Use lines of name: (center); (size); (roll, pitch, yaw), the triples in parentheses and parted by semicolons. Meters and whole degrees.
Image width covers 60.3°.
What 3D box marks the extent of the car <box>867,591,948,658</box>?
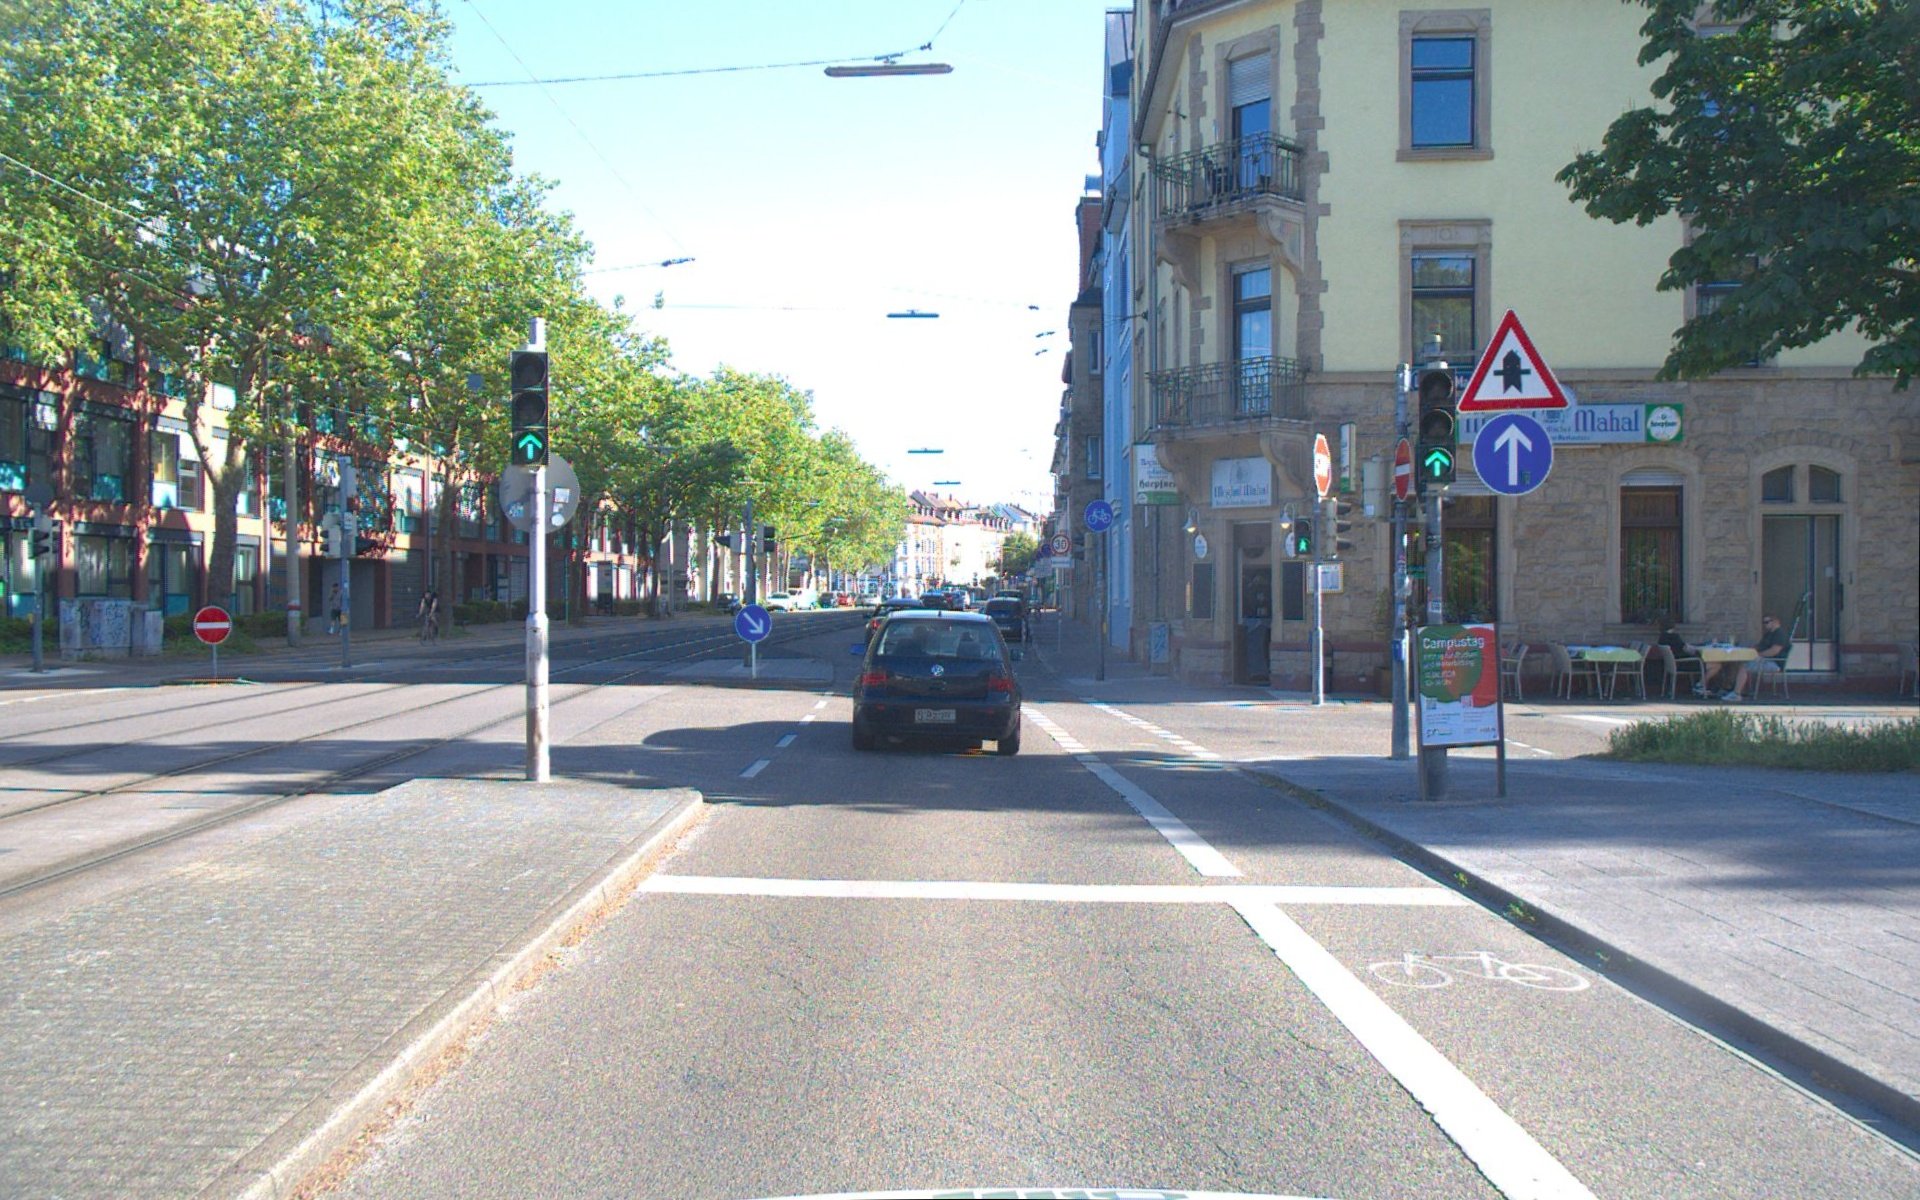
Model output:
car: (-1.264, 0.570, 41.249); (1.712, 1.564, 3.893); (0, 1, 3)

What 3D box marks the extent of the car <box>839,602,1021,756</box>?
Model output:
car: (-0.256, 0.743, 17.595); (1.712, 1.399, 4.001); (0, 1, 1)

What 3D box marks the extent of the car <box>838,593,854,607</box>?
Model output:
car: (-12.994, 0.051, 188.575); (1.537, 1.560, 3.573); (0, -1, 2)

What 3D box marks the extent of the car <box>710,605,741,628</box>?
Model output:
car: (-16.021, 1.168, 113.132); (1.476, 1.479, 3.464); (-1, -2, 2)

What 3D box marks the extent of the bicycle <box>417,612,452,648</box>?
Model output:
bicycle: (-16.399, 0.926, 51.640); (0.632, 1.060, 1.923); (2, 1, -6)

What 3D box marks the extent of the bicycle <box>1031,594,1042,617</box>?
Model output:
bicycle: (4.027, 0.277, 87.224); (0.504, 1.159, 2.259); (-2, 1, 1)

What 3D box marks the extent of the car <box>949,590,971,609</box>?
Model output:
car: (0.001, -0.057, 131.813); (1.602, 1.498, 3.730); (0, 0, 2)

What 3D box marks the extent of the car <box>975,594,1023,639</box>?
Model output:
car: (1.404, 0.554, 58.710); (1.621, 1.508, 4.001); (1, 0, 2)

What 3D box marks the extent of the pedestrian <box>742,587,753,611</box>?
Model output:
pedestrian: (-16.756, -0.079, 130.657); (0.771, 1.902, 0.669); (2, 0, -13)

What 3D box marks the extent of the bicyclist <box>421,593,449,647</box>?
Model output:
bicyclist: (-16.397, 0.621, 51.687); (0.632, 1.639, 0.780); (2, 0, -7)

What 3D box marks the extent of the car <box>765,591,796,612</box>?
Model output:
car: (-14.899, 0.080, 137.441); (1.970, 1.600, 4.694); (2, 1, 1)

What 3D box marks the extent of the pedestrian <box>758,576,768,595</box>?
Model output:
pedestrian: (-18.855, -1.373, 158.565); (0.780, 1.852, 0.670); (2, 0, 2)

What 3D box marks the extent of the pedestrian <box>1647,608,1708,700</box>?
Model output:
pedestrian: (11.179, 0.825, 25.772); (0.625, 1.383, 0.702); (2, 0, 3)

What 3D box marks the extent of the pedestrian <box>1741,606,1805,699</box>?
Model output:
pedestrian: (12.613, 0.802, 25.671); (0.625, 1.383, 0.702); (2, 0, 3)

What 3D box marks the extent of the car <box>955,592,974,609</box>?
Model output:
car: (0.459, 0.035, 151.252); (1.602, 1.498, 3.730); (0, 0, 2)

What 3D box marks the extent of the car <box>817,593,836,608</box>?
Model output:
car: (-13.872, 0.048, 172.020); (1.537, 1.560, 3.573); (0, -1, 2)

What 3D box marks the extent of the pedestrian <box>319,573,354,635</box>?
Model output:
pedestrian: (-20.978, 0.137, 55.680); (0.893, 2.049, 0.780); (2, 0, -7)

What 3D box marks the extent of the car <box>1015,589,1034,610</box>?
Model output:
car: (5.982, -0.035, 153.210); (1.722, 1.870, 3.548); (2, 1, 2)

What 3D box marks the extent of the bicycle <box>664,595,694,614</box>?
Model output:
bicycle: (-20.353, 0.297, 119.773); (1.966, 1.301, 0.664); (1, 0, 2)

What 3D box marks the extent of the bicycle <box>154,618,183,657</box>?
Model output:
bicycle: (-19.446, 0.917, 40.643); (0.513, 0.922, 1.534); (0, 0, -21)

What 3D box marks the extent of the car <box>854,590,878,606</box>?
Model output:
car: (-10.004, -0.211, 175.701); (1.715, 1.544, 4.074); (-2, 0, 8)

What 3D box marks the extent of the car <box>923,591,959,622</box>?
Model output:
car: (-0.937, 0.317, 83.188); (1.602, 1.498, 3.730); (0, 0, 2)

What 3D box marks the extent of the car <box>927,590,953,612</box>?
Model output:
car: (-1.360, 0.051, 112.545); (1.602, 1.498, 3.730); (0, 0, 2)
